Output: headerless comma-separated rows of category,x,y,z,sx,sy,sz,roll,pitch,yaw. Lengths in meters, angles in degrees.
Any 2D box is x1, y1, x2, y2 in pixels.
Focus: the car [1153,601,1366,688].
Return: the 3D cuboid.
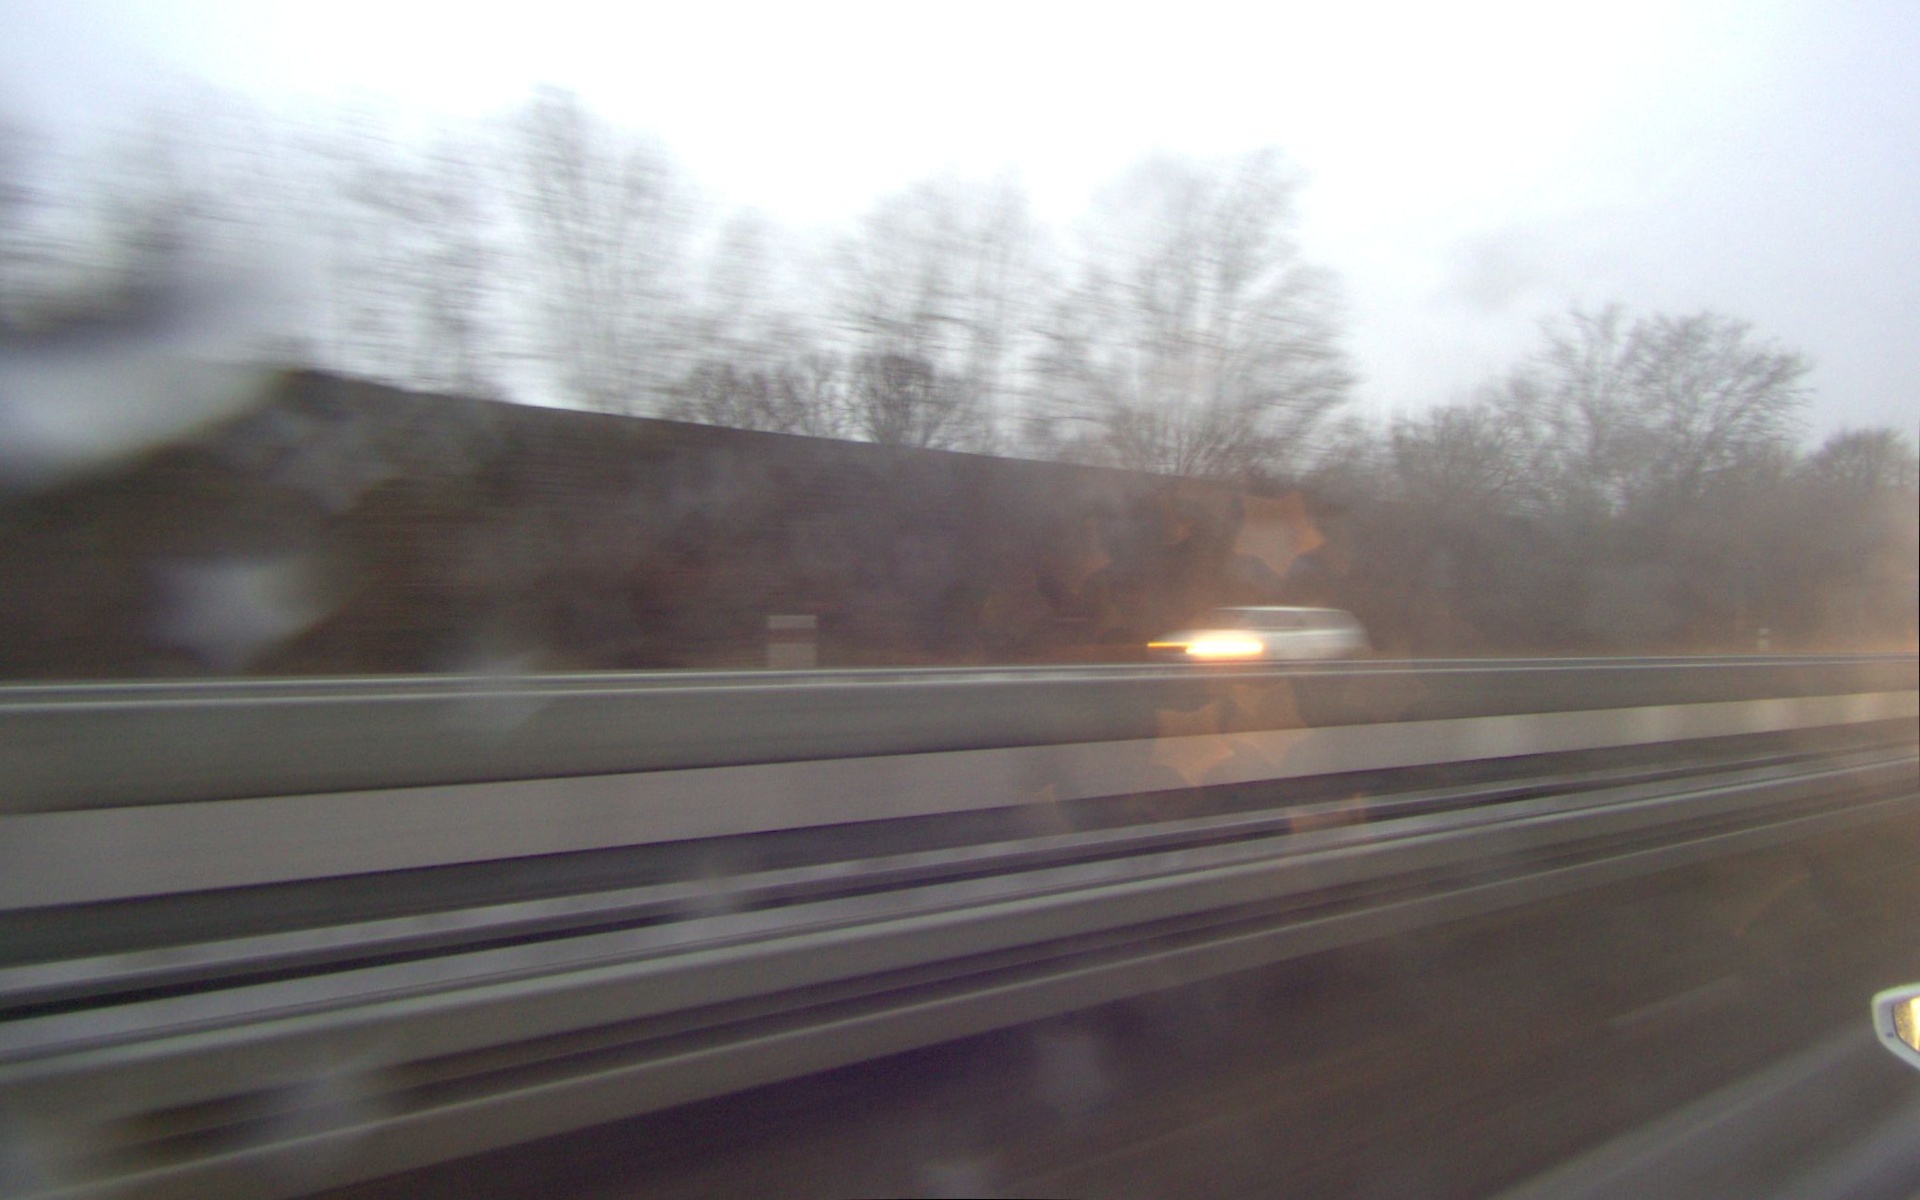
car,6.123,0.892,20.465,4.065,1.559,1.854,2,0,-31
